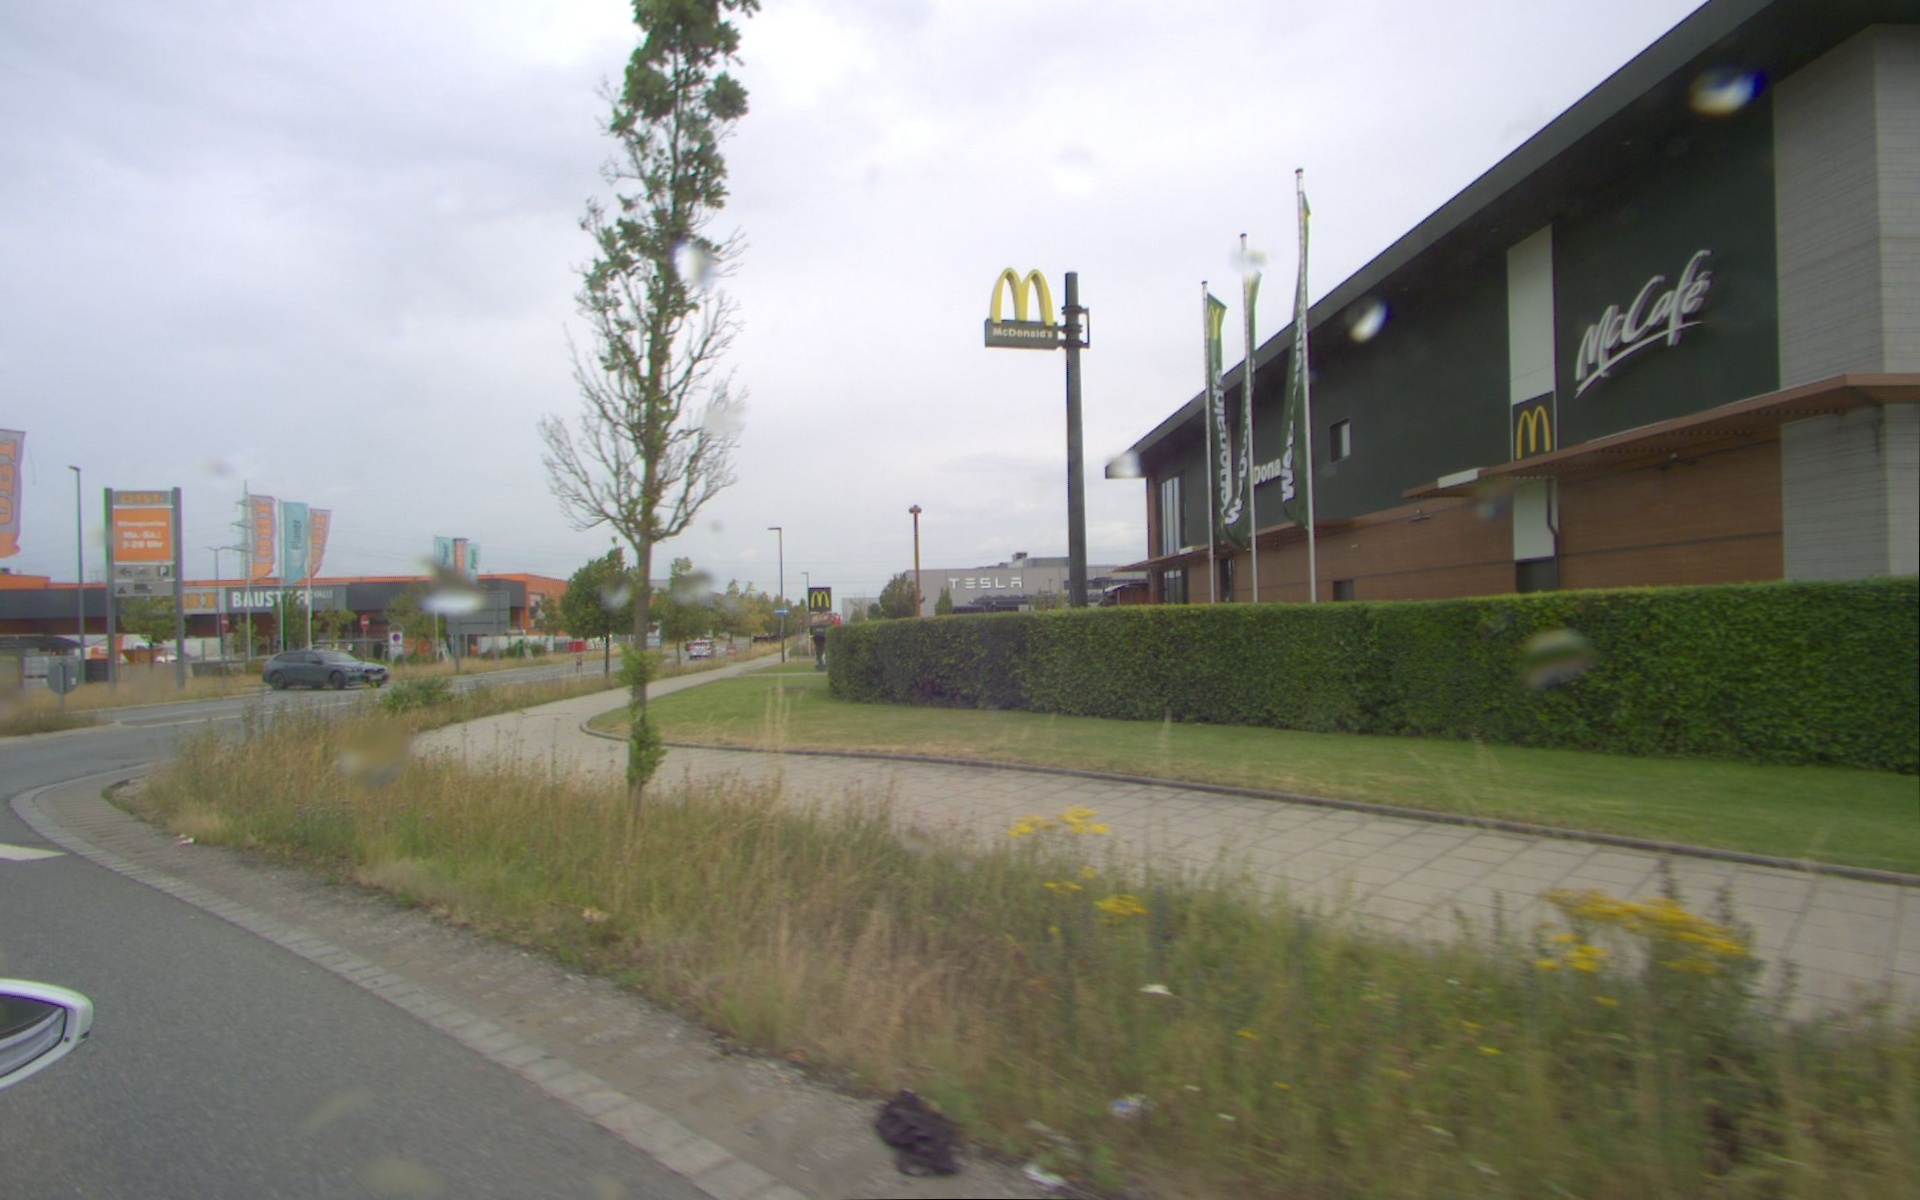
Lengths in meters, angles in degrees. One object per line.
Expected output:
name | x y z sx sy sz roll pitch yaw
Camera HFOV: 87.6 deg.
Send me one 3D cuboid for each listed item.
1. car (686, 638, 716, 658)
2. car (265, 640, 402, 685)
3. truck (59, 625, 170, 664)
car | -20.069 3.678 77.646 1.779 1.482 4.000 2 -2 -8
car | -24.530 2.444 39.255 4.599 1.525 1.998 -4 -3 16
truck | -59.697 3.158 70.790 5.447 2.514 2.440 -2 -2 -12
